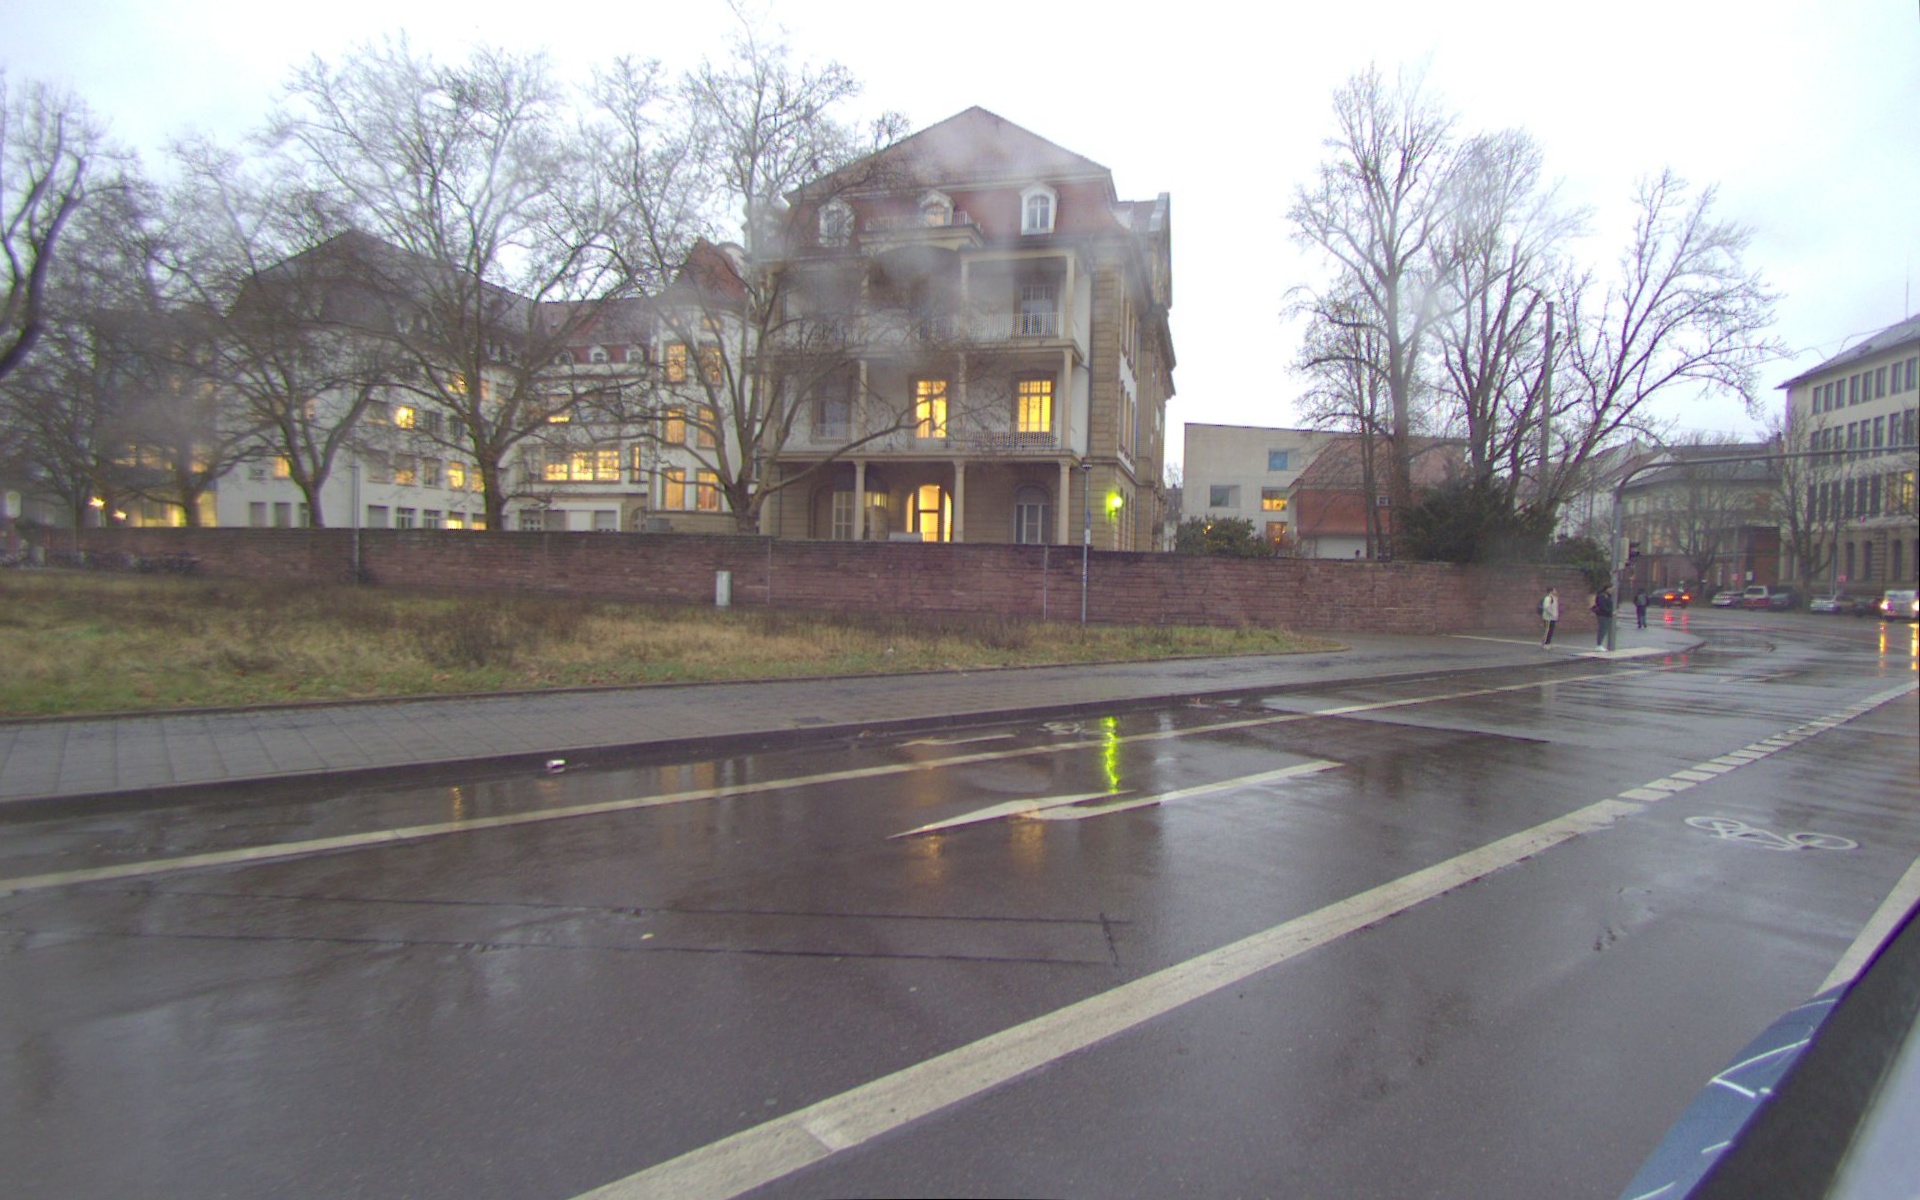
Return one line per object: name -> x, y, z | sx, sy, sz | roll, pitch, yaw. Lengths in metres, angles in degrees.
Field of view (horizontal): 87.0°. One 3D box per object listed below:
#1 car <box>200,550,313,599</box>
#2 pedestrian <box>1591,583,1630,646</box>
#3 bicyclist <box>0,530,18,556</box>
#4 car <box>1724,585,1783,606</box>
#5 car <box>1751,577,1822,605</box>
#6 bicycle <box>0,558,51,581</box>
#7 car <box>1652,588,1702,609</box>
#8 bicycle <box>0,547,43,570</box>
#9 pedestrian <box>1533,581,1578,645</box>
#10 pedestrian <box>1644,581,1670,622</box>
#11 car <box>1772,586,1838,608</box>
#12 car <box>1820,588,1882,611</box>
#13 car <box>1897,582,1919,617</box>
car -> -15.894, -0.595, 22.986 | 1.275, 0.989, 2.688 | 2, 2, -16
pedestrian -> 18.146, 0.392, 28.231 | 0.788, 1.696, 0.720 | 4, 3, 37
bicyclist -> -41.678, -2.496, 44.226 | 0.689, 1.093, 0.494 | -2, 2, -40
car -> 67.051, -0.417, 85.553 | 4.097, 1.610, 1.779 | -1, 2, -14
car -> 65.239, -0.701, 79.925 | 4.526, 2.079, 1.970 | -1, 2, -12
bicycle -> -41.603, -1.339, 44.497 | 2.371, 1.003, 0.479 | -3, 2, -41
car -> 56.667, -0.146, 80.044 | 1.727, 1.395, 4.348 | 3, 3, 14
bicycle -> -42.252, -1.824, 44.818 | 2.371, 1.003, 0.537 | -3, 2, -41
pedestrian -> 16.556, 0.335, 28.161 | 0.953, 1.696, 0.772 | 3, 2, 28
pedestrian -> 30.116, 0.067, 43.720 | 0.802, 1.705, 1.143 | 4, 2, 33
car -> 64.406, -0.215, 77.161 | 3.894, 1.558, 1.828 | -1, 2, -12
car -> 63.588, -0.061, 72.241 | 3.746, 1.475, 1.641 | -2, 2, -18
car -> 59.510, -0.067, 61.552 | 4.704, 2.058, 1.917 | -2, 2, -22
